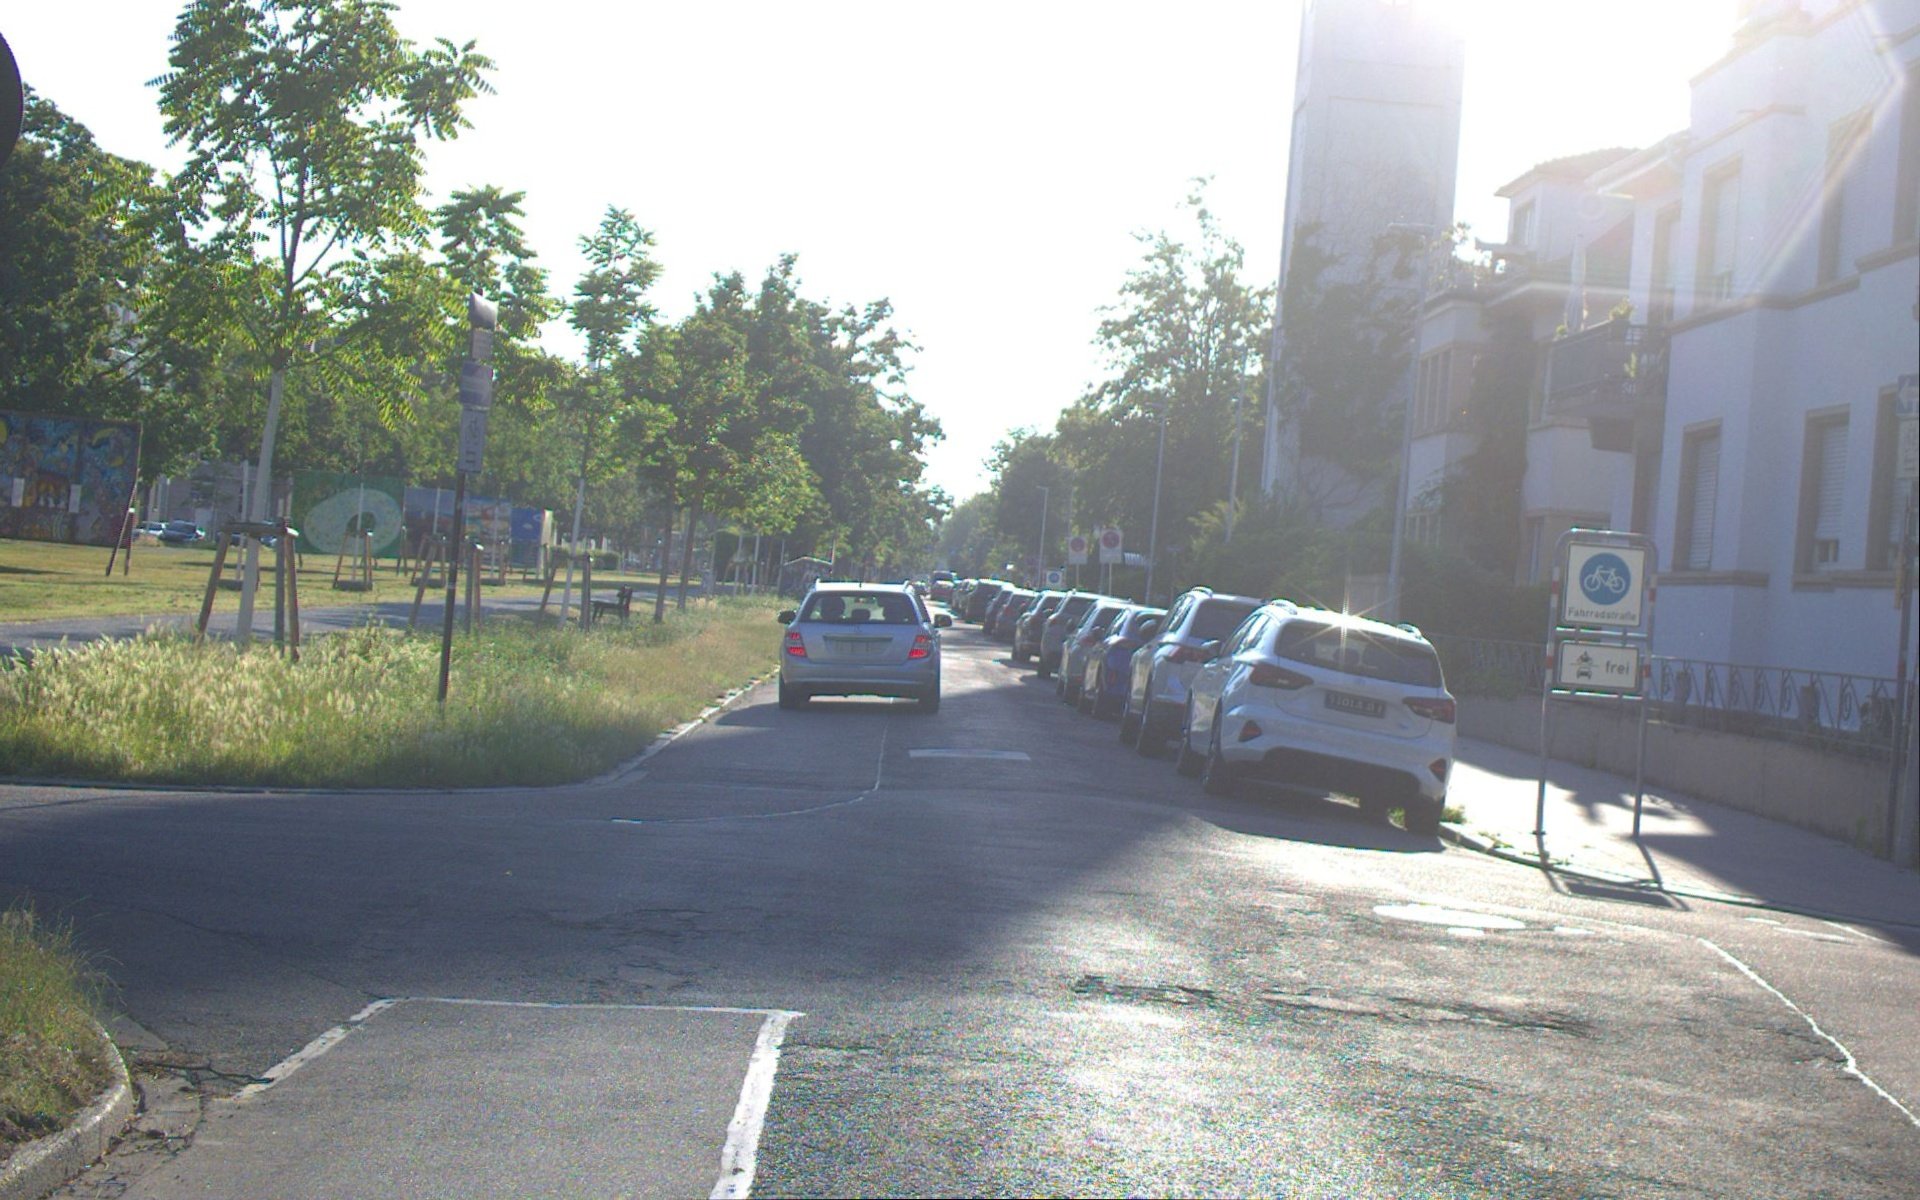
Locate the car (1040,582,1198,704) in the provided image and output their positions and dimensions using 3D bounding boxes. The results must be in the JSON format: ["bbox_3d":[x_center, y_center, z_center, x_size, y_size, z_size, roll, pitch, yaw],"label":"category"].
[{"bbox_3d":[2.150,0.560,47.562,1.761,1.415,4.000,5,1,-2],"label":"car"}]

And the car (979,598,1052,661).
[{"bbox_3d":[1.607,0.853,100.802,1.993,1.624,4.000,4,1,0],"label":"car"}]

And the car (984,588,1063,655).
[{"bbox_3d":[1.724,0.575,94.279,1.993,1.624,4.000,4,1,0],"label":"car"}]

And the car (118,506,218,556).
[{"bbox_3d":[-36.975,-3.216,160.736,3.160,2.140,6.110,2,1,0],"label":"car"}]

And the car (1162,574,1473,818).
[{"bbox_3d":[2.727,0.683,27.155,1.758,1.599,4.359,4,1,-2],"label":"car"}]

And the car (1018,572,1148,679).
[{"bbox_3d":[2.021,0.398,57.633,1.761,1.516,4.000,6,1,-2],"label":"car"}]

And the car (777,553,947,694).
[{"bbox_3d":[-1.117,0.227,38.879,1.761,1.415,4.000,3,1,-2],"label":"car"}]

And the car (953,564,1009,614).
[{"bbox_3d":[0.797,-0.419,128.953,1.980,1.677,4.000,4,1,0],"label":"car"}]

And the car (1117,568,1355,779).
[{"bbox_3d":[2.590,0.650,33.164,1.685,1.645,4.100,9,1,-1],"label":"car"}]

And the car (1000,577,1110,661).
[{"bbox_3d":[1.856,0.353,68.339,1.993,1.459,4.000,4,1,0],"label":"car"}]

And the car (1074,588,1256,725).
[{"bbox_3d":[2.466,0.653,42.201,1.761,1.415,4.000,5,1,-2],"label":"car"}]

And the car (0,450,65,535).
[{"bbox_3d":[-35.578,-3.979,126.910,3.160,2.982,6.893,2,1,0],"label":"car"}]
